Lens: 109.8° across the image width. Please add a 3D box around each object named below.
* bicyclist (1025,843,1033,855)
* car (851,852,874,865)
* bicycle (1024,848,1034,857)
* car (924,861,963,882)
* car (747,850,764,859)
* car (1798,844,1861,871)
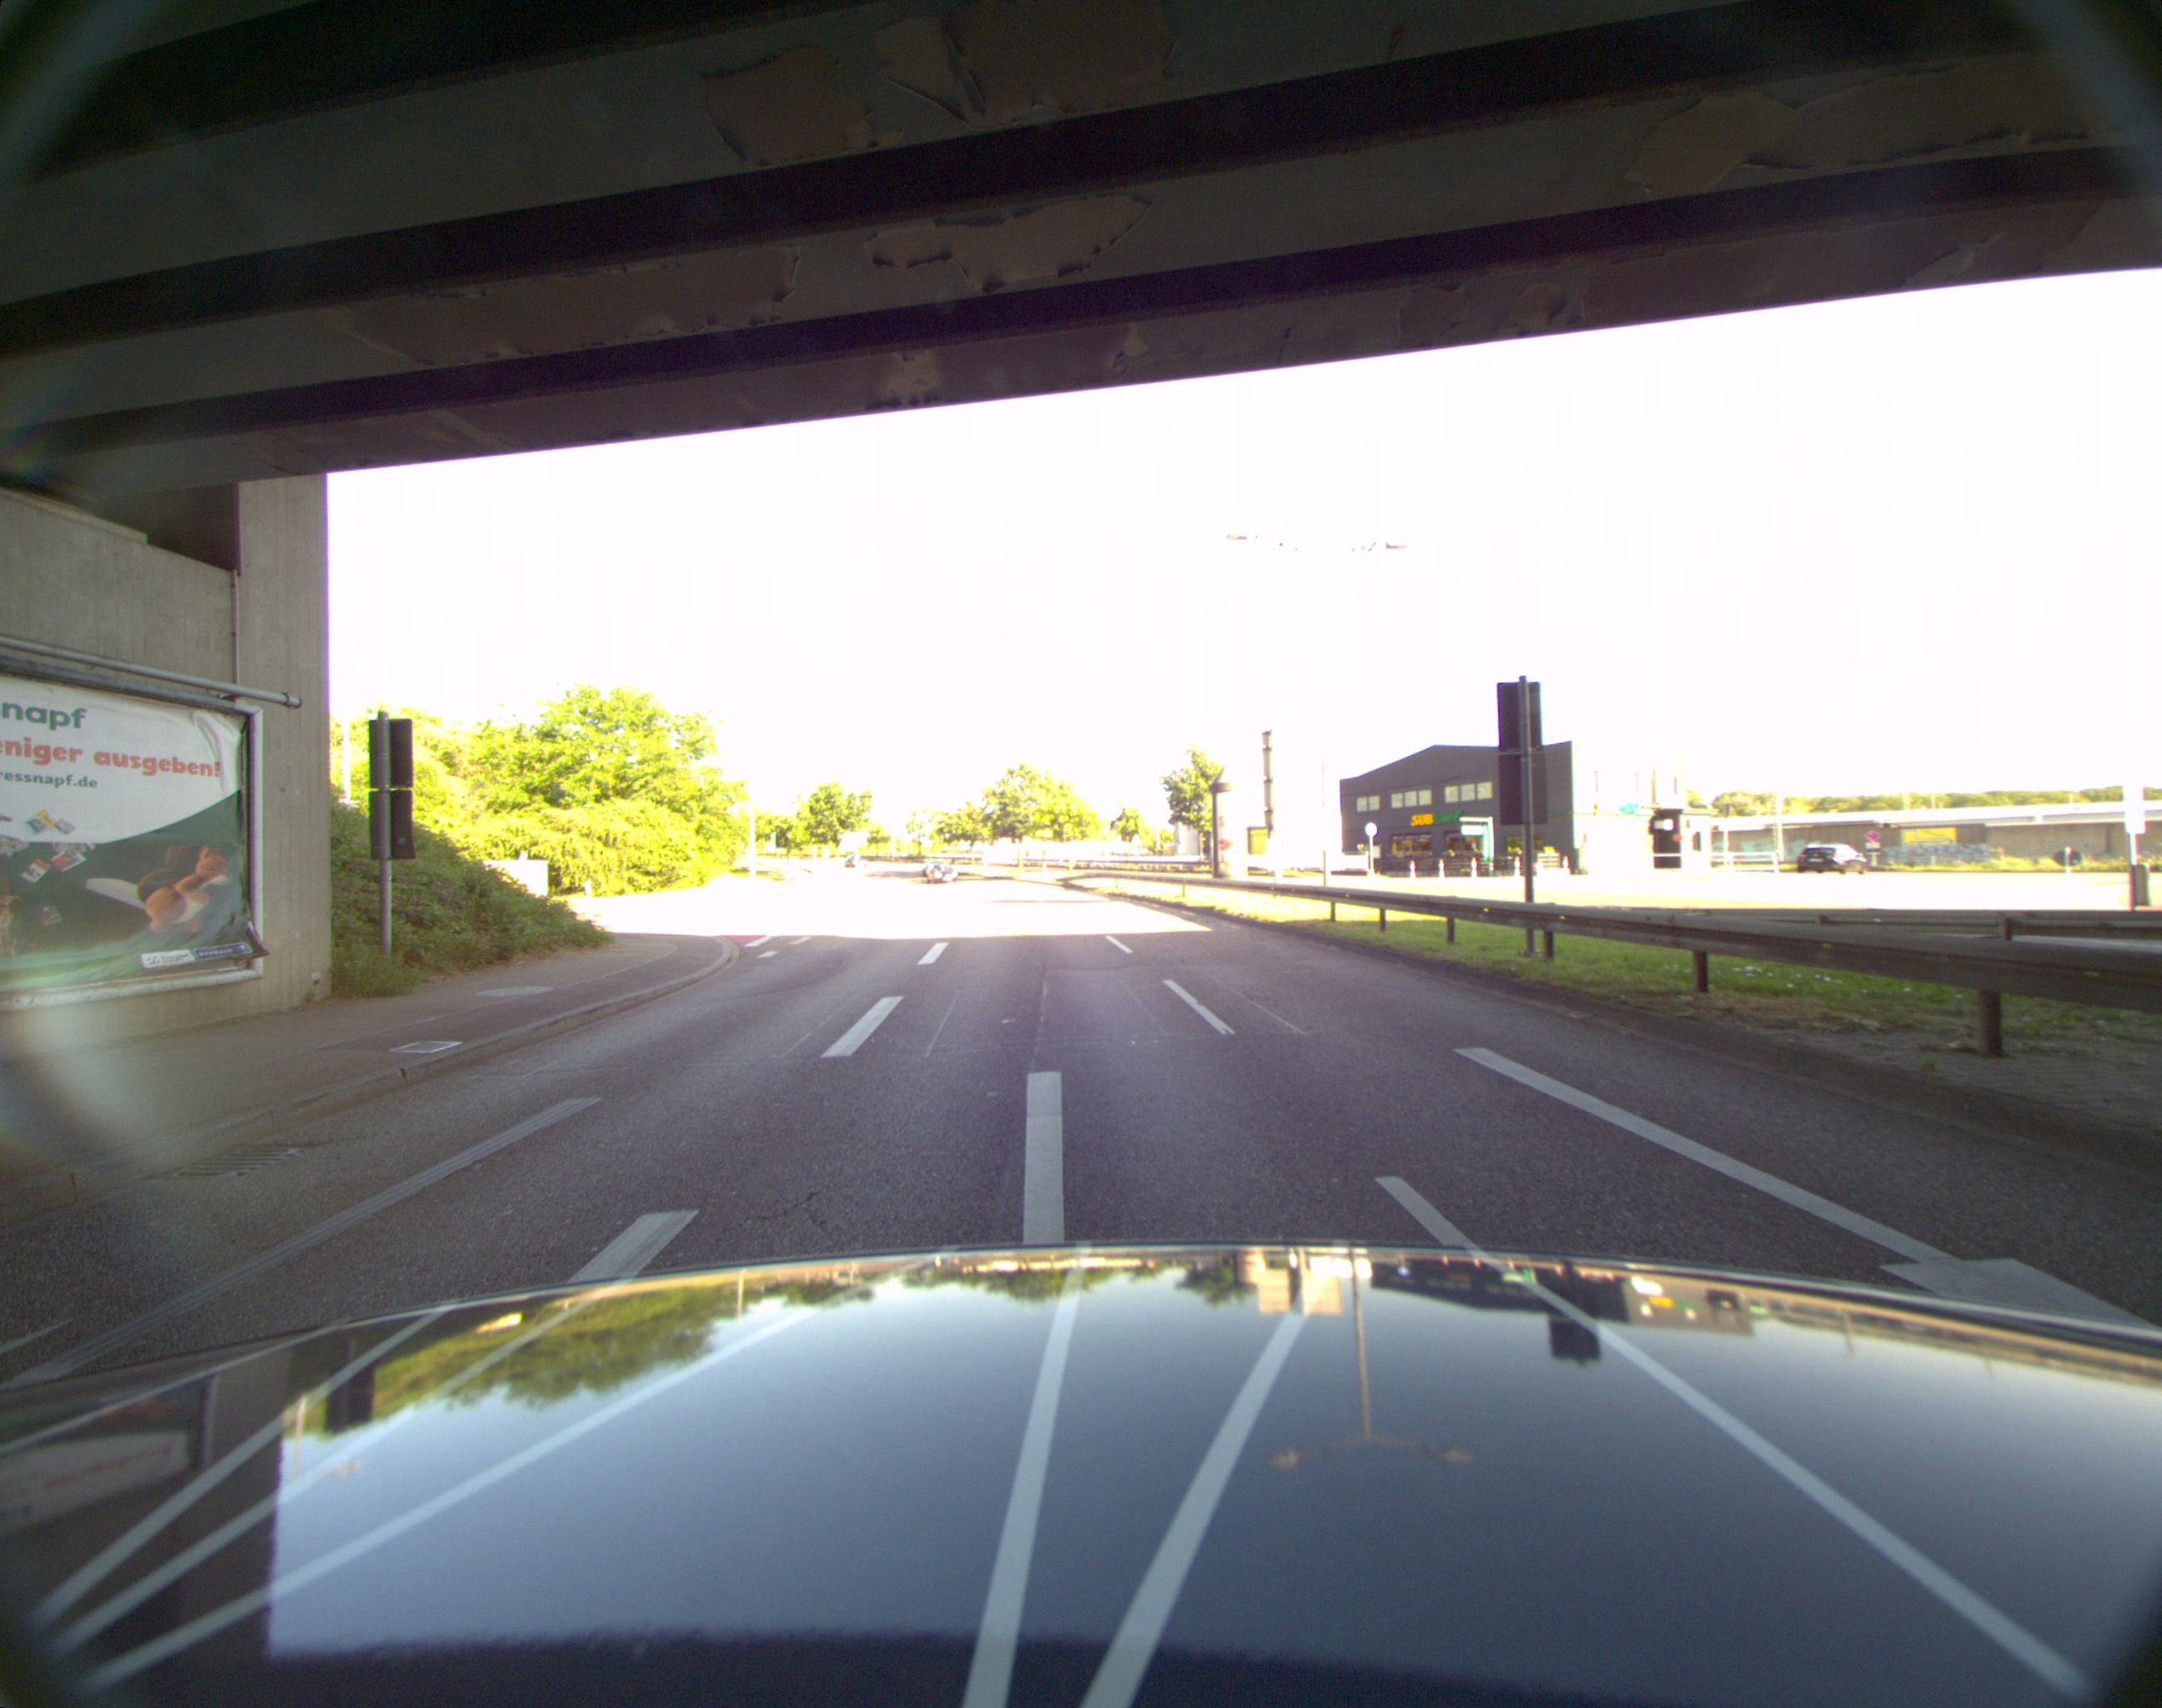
[{"bbox_3d":[-6.159,-0.590,90.297,0.594,1.419,0.707,-3,1,-28],"label":"bicyclist"},{"bbox_3d":[-26.954,0.540,93.672,1.860,1.471,4.220,-2,0,-29],"label":"car"},{"bbox_3d":[-6.191,-0.179,90.419,0.594,1.017,1.746,-3,1,-28],"label":"bicycle"},{"bbox_3d":[-10.035,1.275,55.315,1.741,1.411,4.311,-1,-2,-25],"label":"car"},{"bbox_3d":[-57.756,0.080,134.756,1.853,1.473,3.972,0,-2,-38],"label":"car"},{"bbox_3d":[38.364,0.187,38.905,4.191,1.274,1.825,1,0,-39],"label":"car"}]
